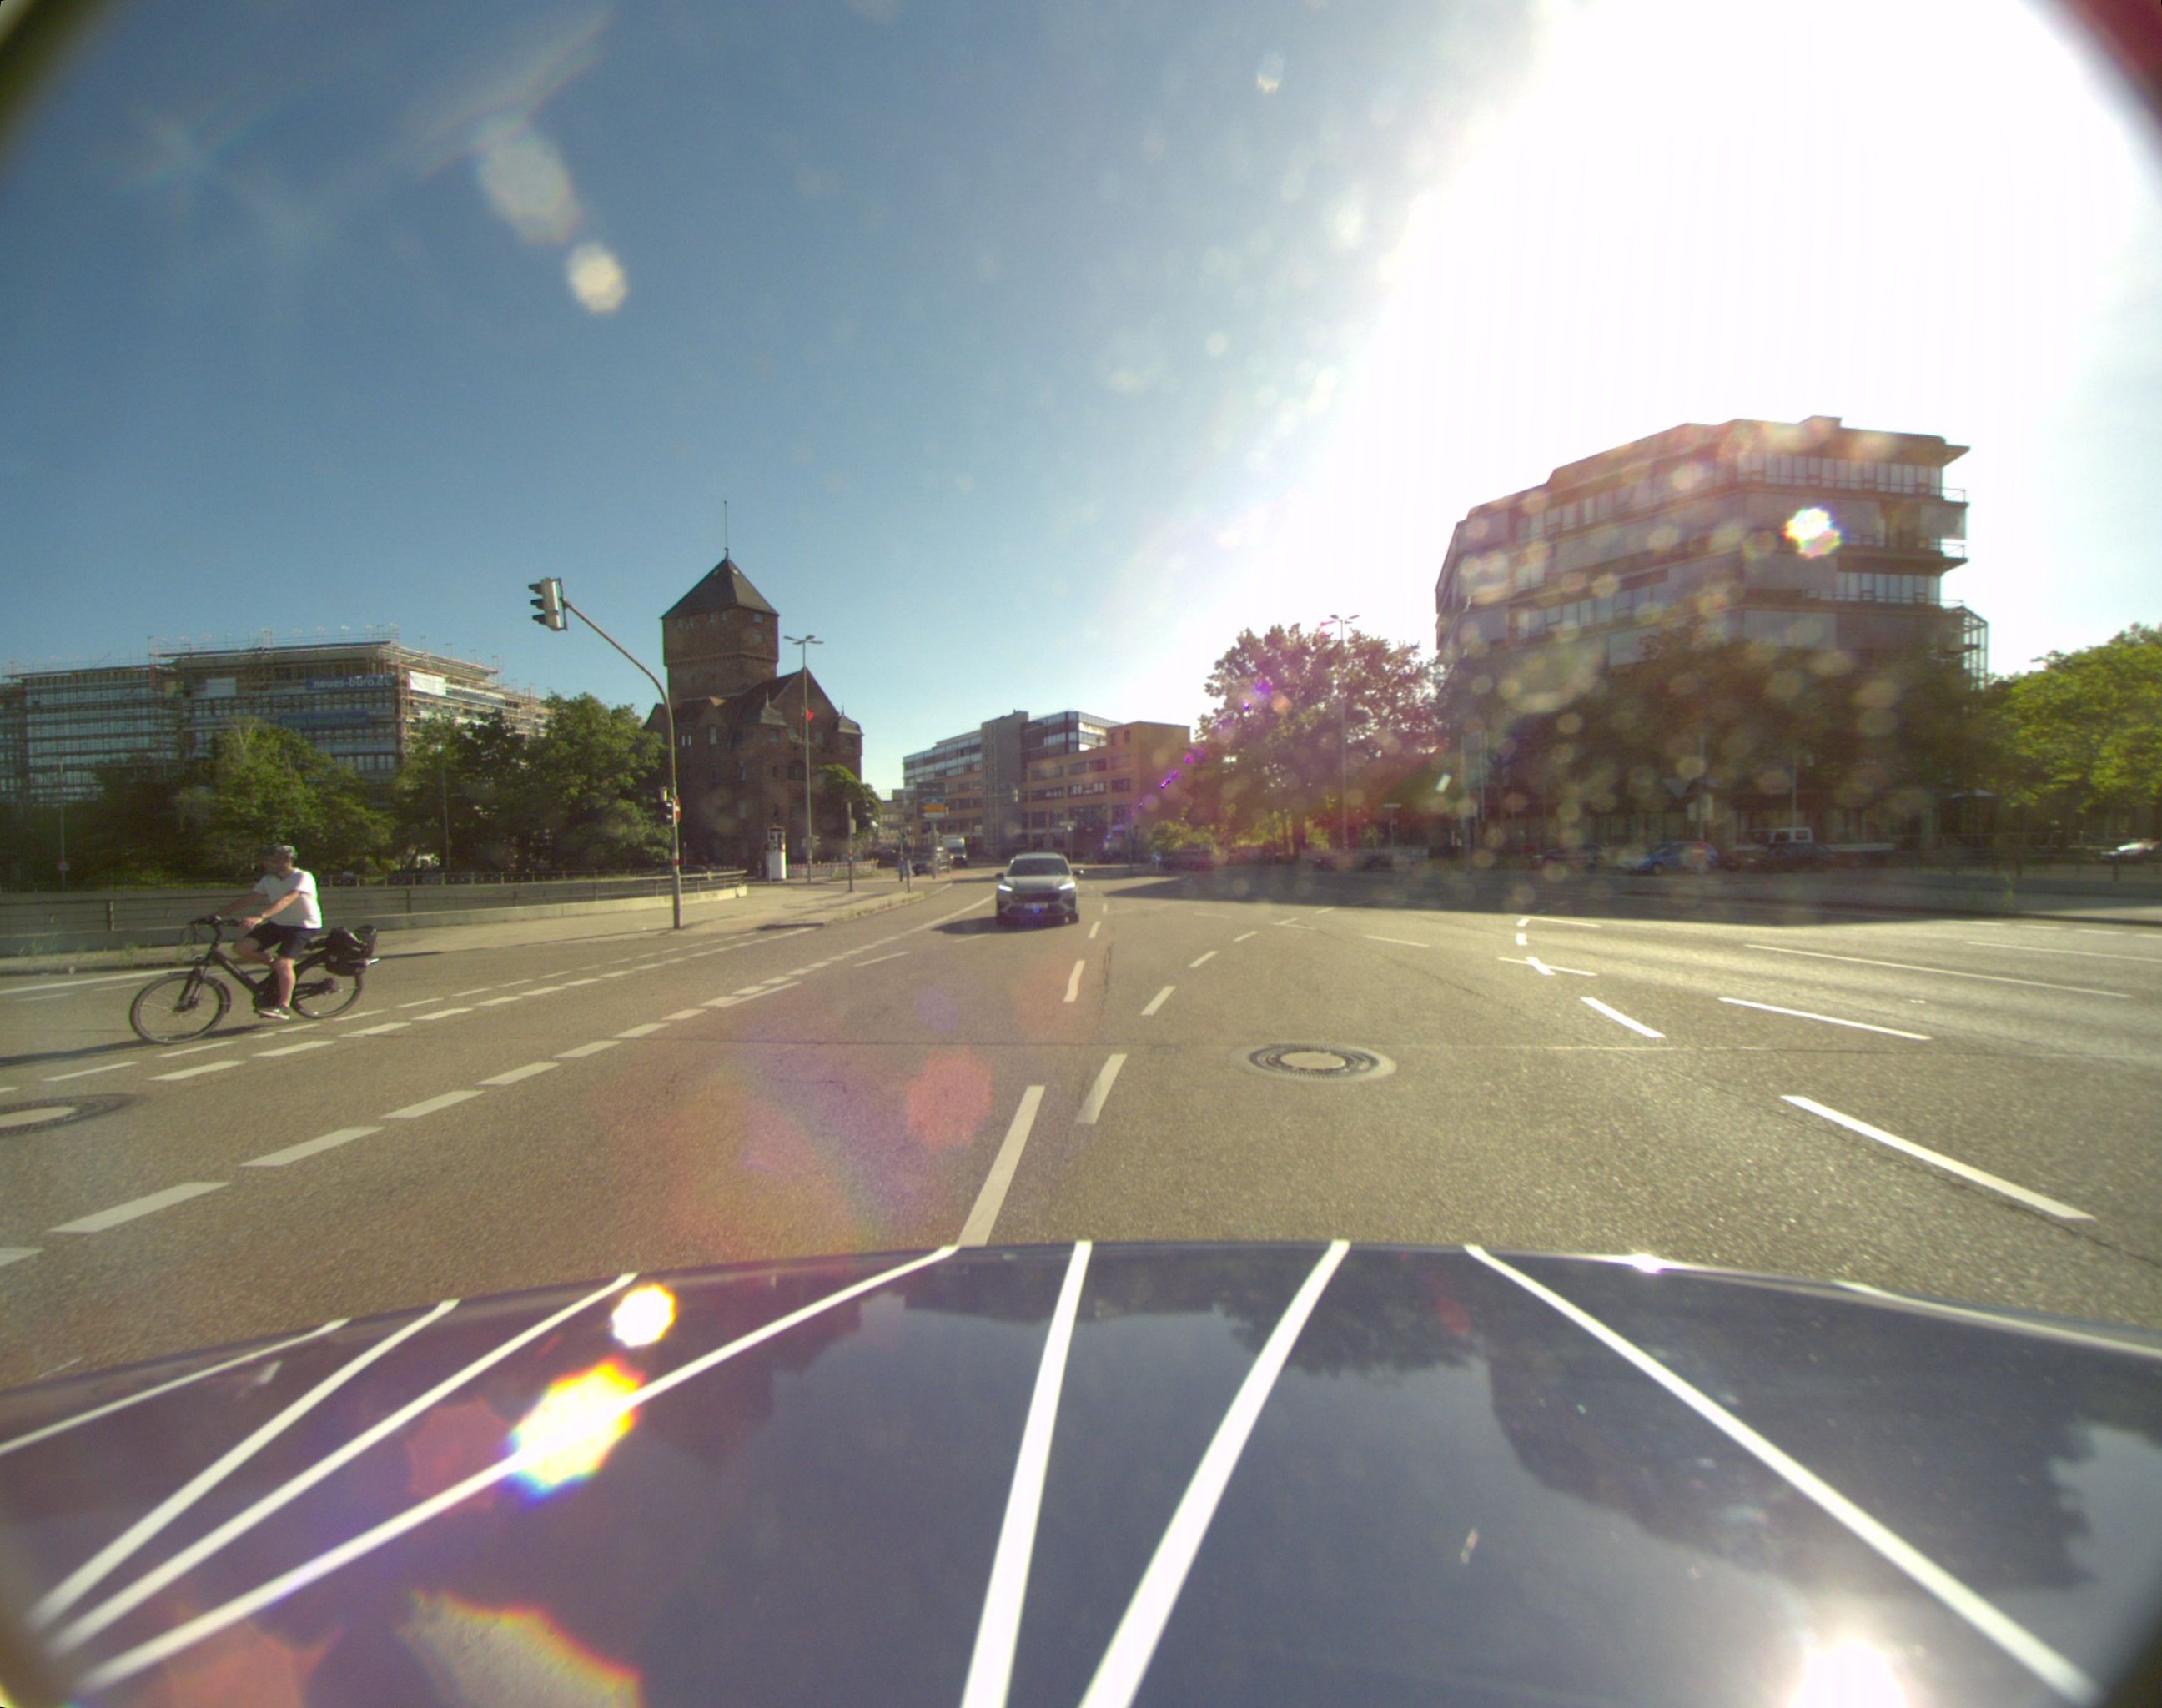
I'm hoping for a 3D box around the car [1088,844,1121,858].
[{"bbox_3d":[2.647,-0.268,85.976,1.662,1.500,4.369,0,-1,-30],"label":"car"}]

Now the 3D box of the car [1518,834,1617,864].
[{"bbox_3d":[28.328,-0.302,44.372,4.503,1.635,1.881,-1,1,7],"label":"car"}]

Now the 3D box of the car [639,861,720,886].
[{"bbox_3d":[-26.938,1.304,51.148,4.640,1.462,1.876,-1,1,-22],"label":"car"}]

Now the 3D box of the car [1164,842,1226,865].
[{"bbox_3d":[8.032,-0.018,54.101,1.884,1.349,4.500,1,-4,-31],"label":"car"}]

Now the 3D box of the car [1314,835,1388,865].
[{"bbox_3d":[16.509,-0.241,46.482,4.187,1.690,1.817,-1,1,21],"label":"car"}]

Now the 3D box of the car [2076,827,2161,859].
[{"bbox_3d":[58.922,-0.618,42.405,4.192,1.690,1.815,-1,1,3],"label":"car"}]

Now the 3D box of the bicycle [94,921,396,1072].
[{"bbox_3d":[-8.095,1.308,7.482,0.692,1.095,1.829,-2,1,26],"label":"bicycle"}]

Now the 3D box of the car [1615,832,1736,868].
[{"bbox_3d":[28.104,-0.199,36.000,4.457,1.532,1.950,-1,1,-6],"label":"car"}]

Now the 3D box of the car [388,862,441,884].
[{"bbox_3d":[-51.403,1.412,58.690,2.002,1.553,3.774,-2,1,-24],"label":"car"}]

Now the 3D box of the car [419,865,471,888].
[{"bbox_3d":[-48.016,1.683,57.432,2.002,1.553,3.774,-2,1,-24],"label":"car"}]

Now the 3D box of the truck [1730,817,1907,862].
[{"bbox_3d":[41.912,-0.817,43.338,7.505,2.346,2.164,-1,1,6],"label":"truck"}]

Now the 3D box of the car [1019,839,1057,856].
[{"bbox_3d":[-4.331,-0.605,75.801,1.954,1.612,4.774,-2,1,-27],"label":"car"}]

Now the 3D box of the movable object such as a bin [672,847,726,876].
[{"bbox_3d":[-33.733,0.644,67.133,3.991,2.396,2.003,-1,1,21],"label":"movable object such as a bin"}]

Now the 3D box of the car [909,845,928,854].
[{"bbox_3d":[-27.911,-0.788,130.357,2.003,1.500,3.989,-4,3,-31],"label":"car"}]

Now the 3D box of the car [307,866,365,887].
[{"bbox_3d":[-59.224,1.770,60.484,2.002,1.445,3.774,-2,1,-24],"label":"car"}]

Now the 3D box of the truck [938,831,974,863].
[{"bbox_3d":[-13.143,-0.711,79.189,2.506,3.110,6.947,-2,1,-19],"label":"truck"}]

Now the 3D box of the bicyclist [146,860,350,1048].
[{"bbox_3d":[-8.121,0.914,7.454,0.724,1.650,1.114,-2,1,26],"label":"bicyclist"}]

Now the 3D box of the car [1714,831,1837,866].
[{"bbox_3d":[33.755,-0.272,36.997,4.457,1.532,1.950,-1,1,-6],"label":"car"}]

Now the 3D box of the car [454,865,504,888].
[{"bbox_3d":[-45.023,1.619,56.940,2.002,1.553,3.774,-2,1,-24],"label":"car"}]

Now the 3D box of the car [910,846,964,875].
[{"bbox_3d":[-12.016,0.517,63.695,1.947,2.248,4.792,-1,1,25],"label":"car"}]

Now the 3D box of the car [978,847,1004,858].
[{"bbox_3d":[-12.958,-0.205,109.079,1.884,1.515,4.150,-2,1,-35],"label":"car"}]

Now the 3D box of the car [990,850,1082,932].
[{"bbox_3d":[-1.041,0.766,17.987,1.879,1.612,4.194,-1,1,-3],"label":"car"}]
